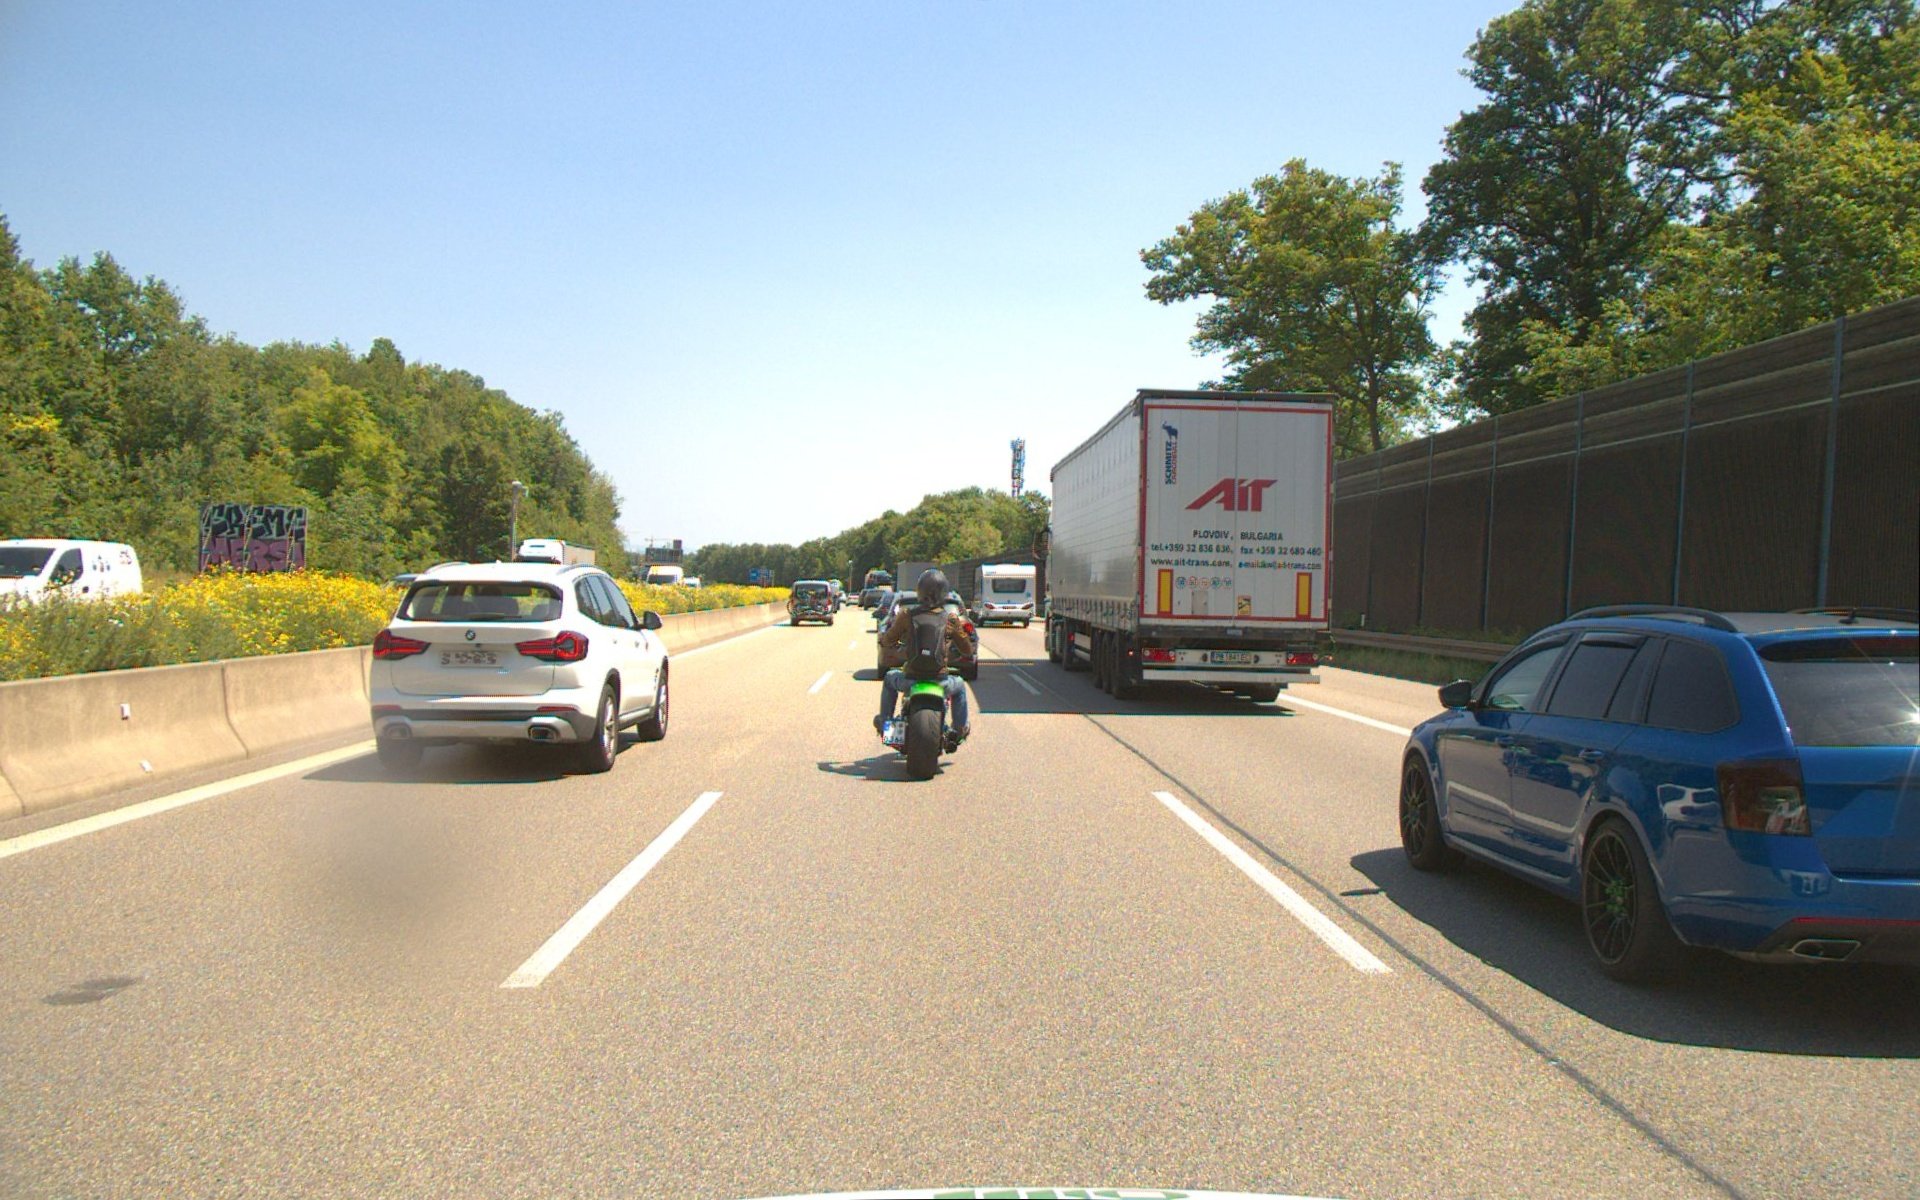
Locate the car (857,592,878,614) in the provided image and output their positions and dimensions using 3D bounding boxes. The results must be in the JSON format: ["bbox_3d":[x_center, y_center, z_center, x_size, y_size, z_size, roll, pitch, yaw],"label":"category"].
[{"bbox_3d":[-8.777,0.268,157.259,1.874,2.049,3.686,1,-1,-5],"label":"car"}]

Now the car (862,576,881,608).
[{"bbox_3d":[-11.449,-1.051,213.061,2.092,3.929,8.134,1,0,-5],"label":"car"}]

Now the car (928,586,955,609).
[{"bbox_3d":[-1.429,-0.174,124.815,1.953,1.601,3.998,1,-1,-2],"label":"car"}]

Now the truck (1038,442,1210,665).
[{"bbox_3d":[3.275,-0.898,34.526,2.827,4.218,5.984,1,0,-1],"label":"truck"}]

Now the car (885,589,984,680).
[{"bbox_3d":[-0.480,0.605,29.408,1.629,1.478,3.867,1,-1,-2],"label":"car"}]

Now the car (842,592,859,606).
[{"bbox_3d":[-11.997,-0.093,181.100,1.796,1.522,3.739,1,-1,-5],"label":"car"}]

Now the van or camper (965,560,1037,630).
[{"bbox_3d":[1.717,-0.140,71.914,2.631,2.862,6.799,1,-1,-2],"label":"van or camper"}]

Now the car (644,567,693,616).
[{"bbox_3d":[-18.456,-0.529,105.106,2.027,2.947,7.458,1,0,-2],"label":"car"}]

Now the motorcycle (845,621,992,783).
[{"bbox_3d":[-0.290,0.792,14.006,0.944,1.168,2.813,1,0,4],"label":"motorcycle"}]

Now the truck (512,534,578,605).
[{"bbox_3d":[-25.913,-1.855,103.567,2.905,4.179,6.082,1,-1,-4],"label":"truck"}]

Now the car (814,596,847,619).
[{"bbox_3d":[-8.258,0.477,105.893,1.954,1.411,3.997,1,-1,-3],"label":"car"}]

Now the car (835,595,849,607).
[{"bbox_3d":[-15.708,0.090,219.802,1.796,1.522,3.739,1,-1,-5],"label":"car"}]

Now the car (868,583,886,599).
[{"bbox_3d":[-10.019,-1.062,199.533,2.067,1.909,3.995,1,-1,-6],"label":"car"}]

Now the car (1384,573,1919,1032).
[{"bbox_3d":[3.431,0.709,7.729,1.617,1.509,4.479,1,-1,-2],"label":"car"}]

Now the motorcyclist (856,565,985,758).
[{"bbox_3d":[-0.293,0.496,13.904,0.881,1.501,1.873,1,-1,4],"label":"motorcyclist"}]

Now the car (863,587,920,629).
[{"bbox_3d":[-2.490,0.301,60.042,1.954,1.455,3.845,1,-1,-3],"label":"car"}]

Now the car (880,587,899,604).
[{"bbox_3d":[-8.268,-0.556,194.126,2.067,1.909,3.995,1,-1,-5],"label":"car"}]

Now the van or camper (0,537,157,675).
[{"bbox_3d":[-14.800,0.085,26.689,1.658,2.048,4.212,1,0,-1],"label":"van or camper"}]

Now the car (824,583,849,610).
[{"bbox_3d":[-9.424,-0.254,126.628,1.755,2.049,3.639,1,-1,-3],"label":"car"}]

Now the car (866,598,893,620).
[{"bbox_3d":[-6.120,0.704,126.559,1.953,1.669,3.998,1,-1,-1],"label":"car"}]

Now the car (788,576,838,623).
[{"bbox_3d":[-6.119,0.007,69.235,1.861,1.906,4.410,1,-1,-2],"label":"car"}]

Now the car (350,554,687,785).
[{"bbox_3d":[-3.724,0.523,14.920,1.826,1.724,4.954,1,0,-2],"label":"car"}]

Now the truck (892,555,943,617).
[{"bbox_3d":[-3.792,-1.131,143.651,3.729,5.047,8.939,1,-1,-6],"label":"truck"}]

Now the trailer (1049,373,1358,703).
[{"bbox_3d":[3.434,-0.792,27.691,2.827,4.109,13.791,1,0,-1],"label":"trailer"}]
